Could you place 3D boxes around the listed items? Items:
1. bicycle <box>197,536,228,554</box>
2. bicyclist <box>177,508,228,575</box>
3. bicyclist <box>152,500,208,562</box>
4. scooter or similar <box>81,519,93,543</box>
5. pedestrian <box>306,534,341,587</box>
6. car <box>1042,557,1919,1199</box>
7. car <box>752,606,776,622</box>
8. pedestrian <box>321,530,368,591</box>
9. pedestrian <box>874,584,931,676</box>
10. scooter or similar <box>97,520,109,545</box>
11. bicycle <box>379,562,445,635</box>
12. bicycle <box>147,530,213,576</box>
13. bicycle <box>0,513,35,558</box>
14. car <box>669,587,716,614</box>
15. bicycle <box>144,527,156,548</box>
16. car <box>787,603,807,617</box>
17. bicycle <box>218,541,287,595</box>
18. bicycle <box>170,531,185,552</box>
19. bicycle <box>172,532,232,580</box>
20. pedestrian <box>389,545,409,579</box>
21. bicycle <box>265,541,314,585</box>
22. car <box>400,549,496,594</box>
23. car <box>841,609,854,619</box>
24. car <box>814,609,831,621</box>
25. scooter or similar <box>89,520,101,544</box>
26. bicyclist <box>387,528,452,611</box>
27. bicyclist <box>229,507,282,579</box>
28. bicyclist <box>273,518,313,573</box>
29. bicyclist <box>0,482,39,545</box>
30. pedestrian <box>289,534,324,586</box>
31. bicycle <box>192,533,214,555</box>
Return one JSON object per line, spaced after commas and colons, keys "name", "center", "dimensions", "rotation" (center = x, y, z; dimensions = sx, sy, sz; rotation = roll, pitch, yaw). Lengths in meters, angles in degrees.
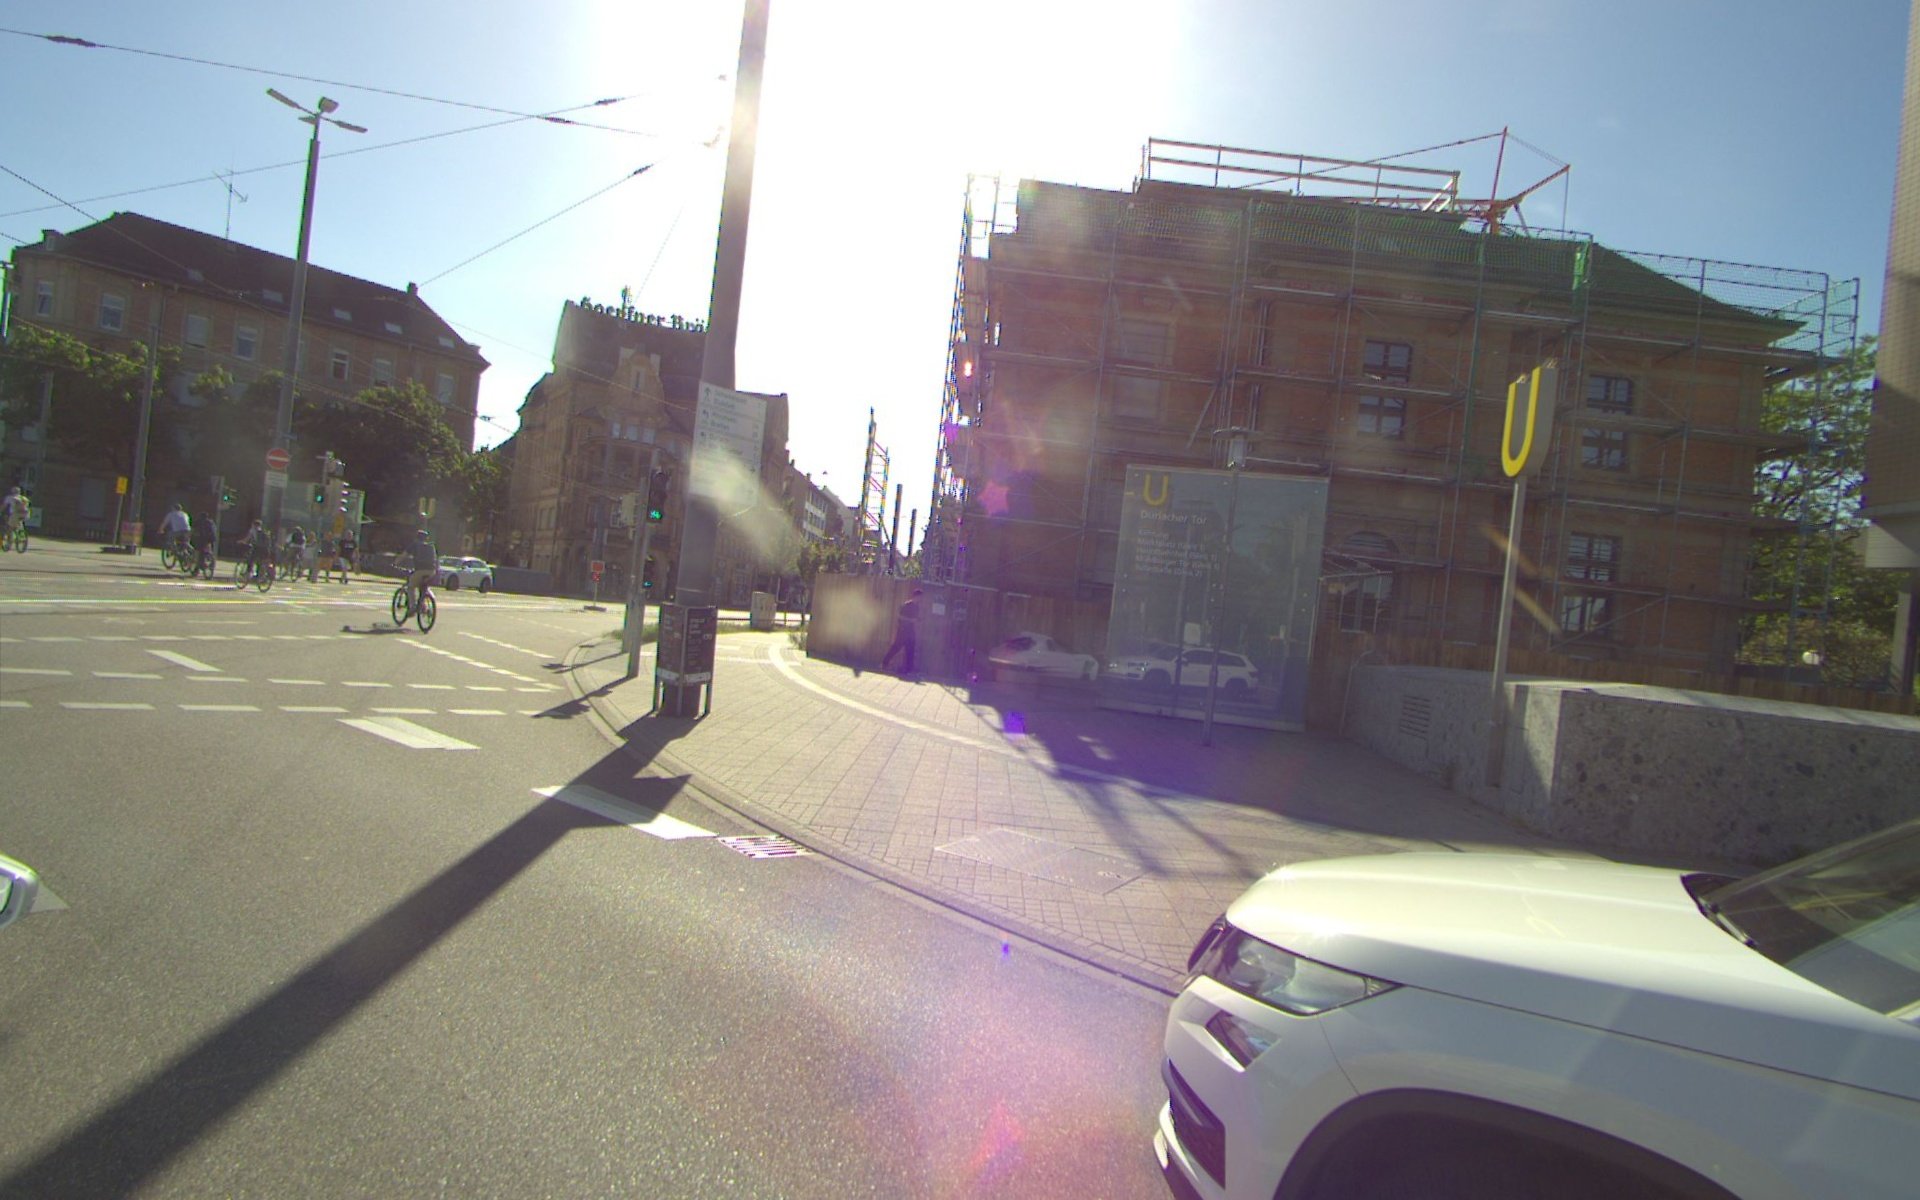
{"name": "bicycle", "center": [-45.058, -3.293, 60.669], "dimensions": [1.411, 0.866, 0.400], "rotation": [9, -3, -38]}
{"name": "bicyclist", "center": [-20.047, -1.543, 26.632], "dimensions": [0.965, 1.632, 0.624], "rotation": [6, -2, 33]}
{"name": "bicyclist", "center": [-22.117, -1.956, 28.545], "dimensions": [0.869, 1.612, 0.785], "rotation": [6, 0, 18]}
{"name": "scooter or similar", "center": [-44.841, -3.557, 51.654], "dimensions": [0.269, 1.198, 1.546], "rotation": [8, -2, -43]}
{"name": "pedestrian", "center": [-22.681, -1.393, 35.859], "dimensions": [0.812, 1.777, 0.658], "rotation": [6, -2, 42]}
{"name": "car", "center": [2.520, 1.022, 1.669], "dimensions": [4.325, 1.663, 1.868], "rotation": [6, -3, 33]}
{"name": "car", "center": [-22.217, 1.595, 114.214], "dimensions": [1.720, 1.640, 4.019], "rotation": [5, -2, 3]}
{"name": "pedestrian", "center": [-21.377, -1.369, 34.931], "dimensions": [1.034, 1.951, 0.930], "rotation": [6, -2, 42]}
{"name": "pedestrian", "center": [-1.202, 0.633, 21.079], "dimensions": [0.815, 1.808, 0.778], "rotation": [7, -2, 12]}
{"name": "scooter or similar", "center": [-44.387, -3.493, 52.110], "dimensions": [0.269, 1.209, 1.546], "rotation": [8, -2, -43]}
{"name": "bicycle", "center": [-10.471, -0.040, 19.181], "dimensions": [0.530, 1.172, 1.842], "rotation": [9, -1, -43]}
{"name": "bicycle", "center": [-22.168, -1.345, 28.586], "dimensions": [1.897, 1.082, 0.387], "rotation": [7, 1, 18]}
{"name": "bicycle", "center": [-27.596, -1.900, 29.269], "dimensions": [1.903, 1.130, 0.532], "rotation": [8, -1, 36]}
{"name": "car", "center": [-20.675, 0.042, 77.886], "dimensions": [1.882, 1.706, 4.256], "rotation": [5, -2, 8]}
{"name": "bicycle", "center": [-43.149, -3.332, 53.594], "dimensions": [0.401, 1.073, 1.467], "rotation": [8, -2, -39]}
{"name": "car", "center": [-21.736, 1.315, 134.272], "dimensions": [1.720, 1.640, 4.019], "rotation": [5, -2, 3]}
{"name": "bicycle", "center": [-17.216, -0.780, 24.476], "dimensions": [1.901, 1.130, 0.532], "rotation": [6, -2, 31]}
{"name": "bicycle", "center": [-42.370, -3.180, 54.484], "dimensions": [0.402, 1.073, 1.336], "rotation": [8, -2, -43]}
{"name": "bicycle", "center": [-20.092, -1.169, 26.669], "dimensions": [1.902, 1.131, 0.532], "rotation": [5, -1, 32]}
{"name": "pedestrian", "center": [-32.816, -2.227, 58.820], "dimensions": [0.537, 1.870, 0.650], "rotation": [7, -1, 3]}
{"name": "bicycle", "center": [-21.156, -1.172, 31.738], "dimensions": [1.903, 1.130, 0.532], "rotation": [8, -1, 36]}
{"name": "car", "center": [-24.279, -1.312, 47.907], "dimensions": [1.882, 1.640, 4.256], "rotation": [5, -2, 8]}
{"name": "car", "center": [-20.965, 2.674, 187.873], "dimensions": [1.720, 1.642, 4.014], "rotation": [5, 1, 3]}
{"name": "car", "center": [-21.962, 2.417, 160.752], "dimensions": [1.720, 1.643, 4.012], "rotation": [5, 2, 3]}
{"name": "scooter or similar", "center": [-44.626, -3.518, 51.883], "dimensions": [0.269, 1.198, 1.546], "rotation": [8, -2, -43]}
{"name": "bicyclist", "center": [-10.193, -0.577, 18.968], "dimensions": [0.672, 1.437, 1.024], "rotation": [8, -2, -44]}
{"name": "bicyclist", "center": [-17.150, -1.380, 24.494], "dimensions": [0.937, 1.632, 0.551], "rotation": [6, -2, 31]}
{"name": "bicyclist", "center": [-21.017, -1.719, 31.708], "dimensions": [0.938, 1.632, 0.598], "rotation": [6, -2, 37]}
{"name": "bicyclist", "center": [-27.452, -2.508, 29.213], "dimensions": [1.103, 1.703, 0.681], "rotation": [6, -2, 36]}
{"name": "pedestrian", "center": [-22.610, -1.380, 34.818], "dimensions": [0.812, 1.696, 0.658], "rotation": [6, -2, 42]}
{"name": "bicycle", "center": [-41.568, -3.056, 55.229], "dimensions": [1.329, 1.073, 0.404], "rotation": [6, -2, 31]}
